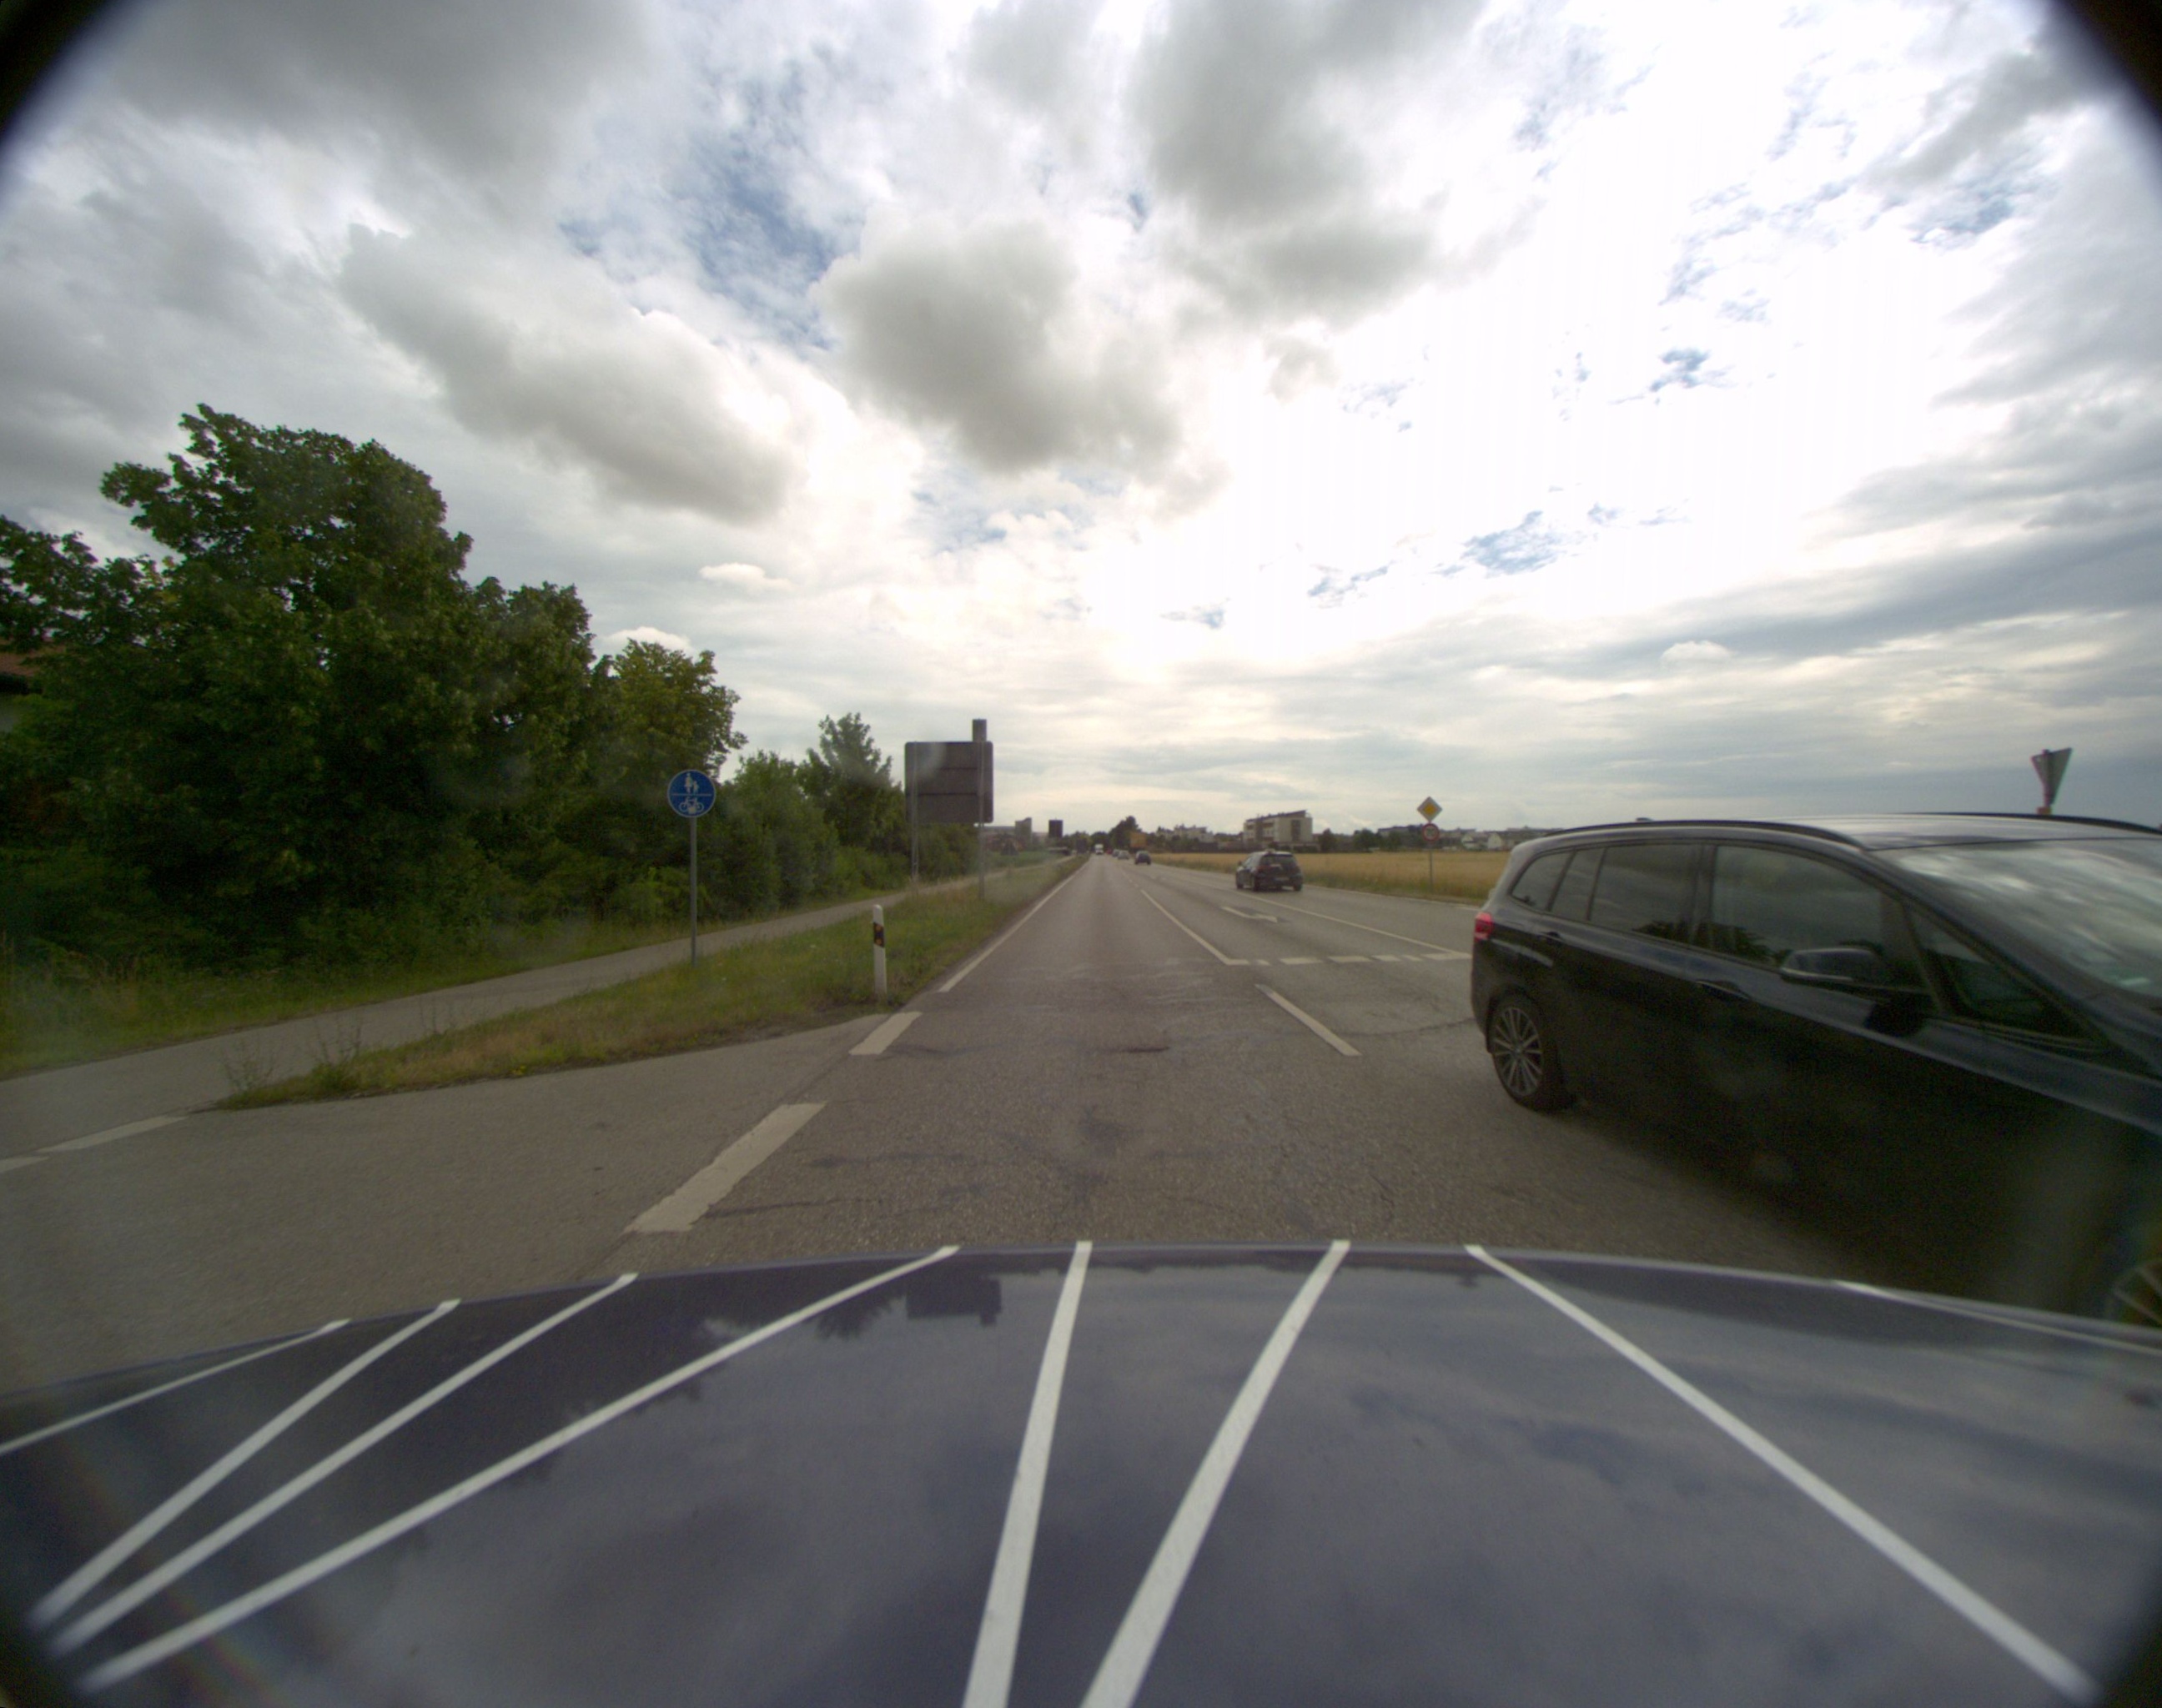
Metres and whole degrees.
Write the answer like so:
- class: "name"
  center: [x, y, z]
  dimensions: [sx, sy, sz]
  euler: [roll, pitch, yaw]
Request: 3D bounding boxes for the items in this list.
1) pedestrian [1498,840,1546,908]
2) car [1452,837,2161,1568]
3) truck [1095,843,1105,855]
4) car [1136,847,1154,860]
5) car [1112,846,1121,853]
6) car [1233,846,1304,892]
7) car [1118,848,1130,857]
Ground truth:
- class: "pedestrian"
  center: [10.743, 0.465, 18.522]
  dimensions: [0.594, 1.596, 0.866]
  euler: [2, 1, -1]
- class: "car"
  center: [3.273, 0.771, 2.715]
  dimensions: [1.706, 1.602, 4.482]
  euler: [-2, 0, 1]
- class: "truck"
  center: [5.972, -1.625, 237.478]
  dimensions: [2.813, 3.588, 11.219]
  euler: [0, 1, 2]
- class: "car"
  center: [7.250, -0.067, 86.379]
  dimensions: [1.740, 1.450, 4.131]
  euler: [-1, 1, 0]
- class: "car"
  center: [8.238, -1.083, 174.975]
  dimensions: [1.856, 1.480, 4.264]
  euler: [0, 1, 0]
- class: "car"
  center: [6.974, 0.502, 28.686]
  dimensions: [1.683, 1.512, 4.395]
  euler: [-2, 1, 1]
- class: "car"
  center: [7.359, -0.299, 130.854]
  dimensions: [1.856, 1.480, 4.263]
  euler: [0, 1, -1]
